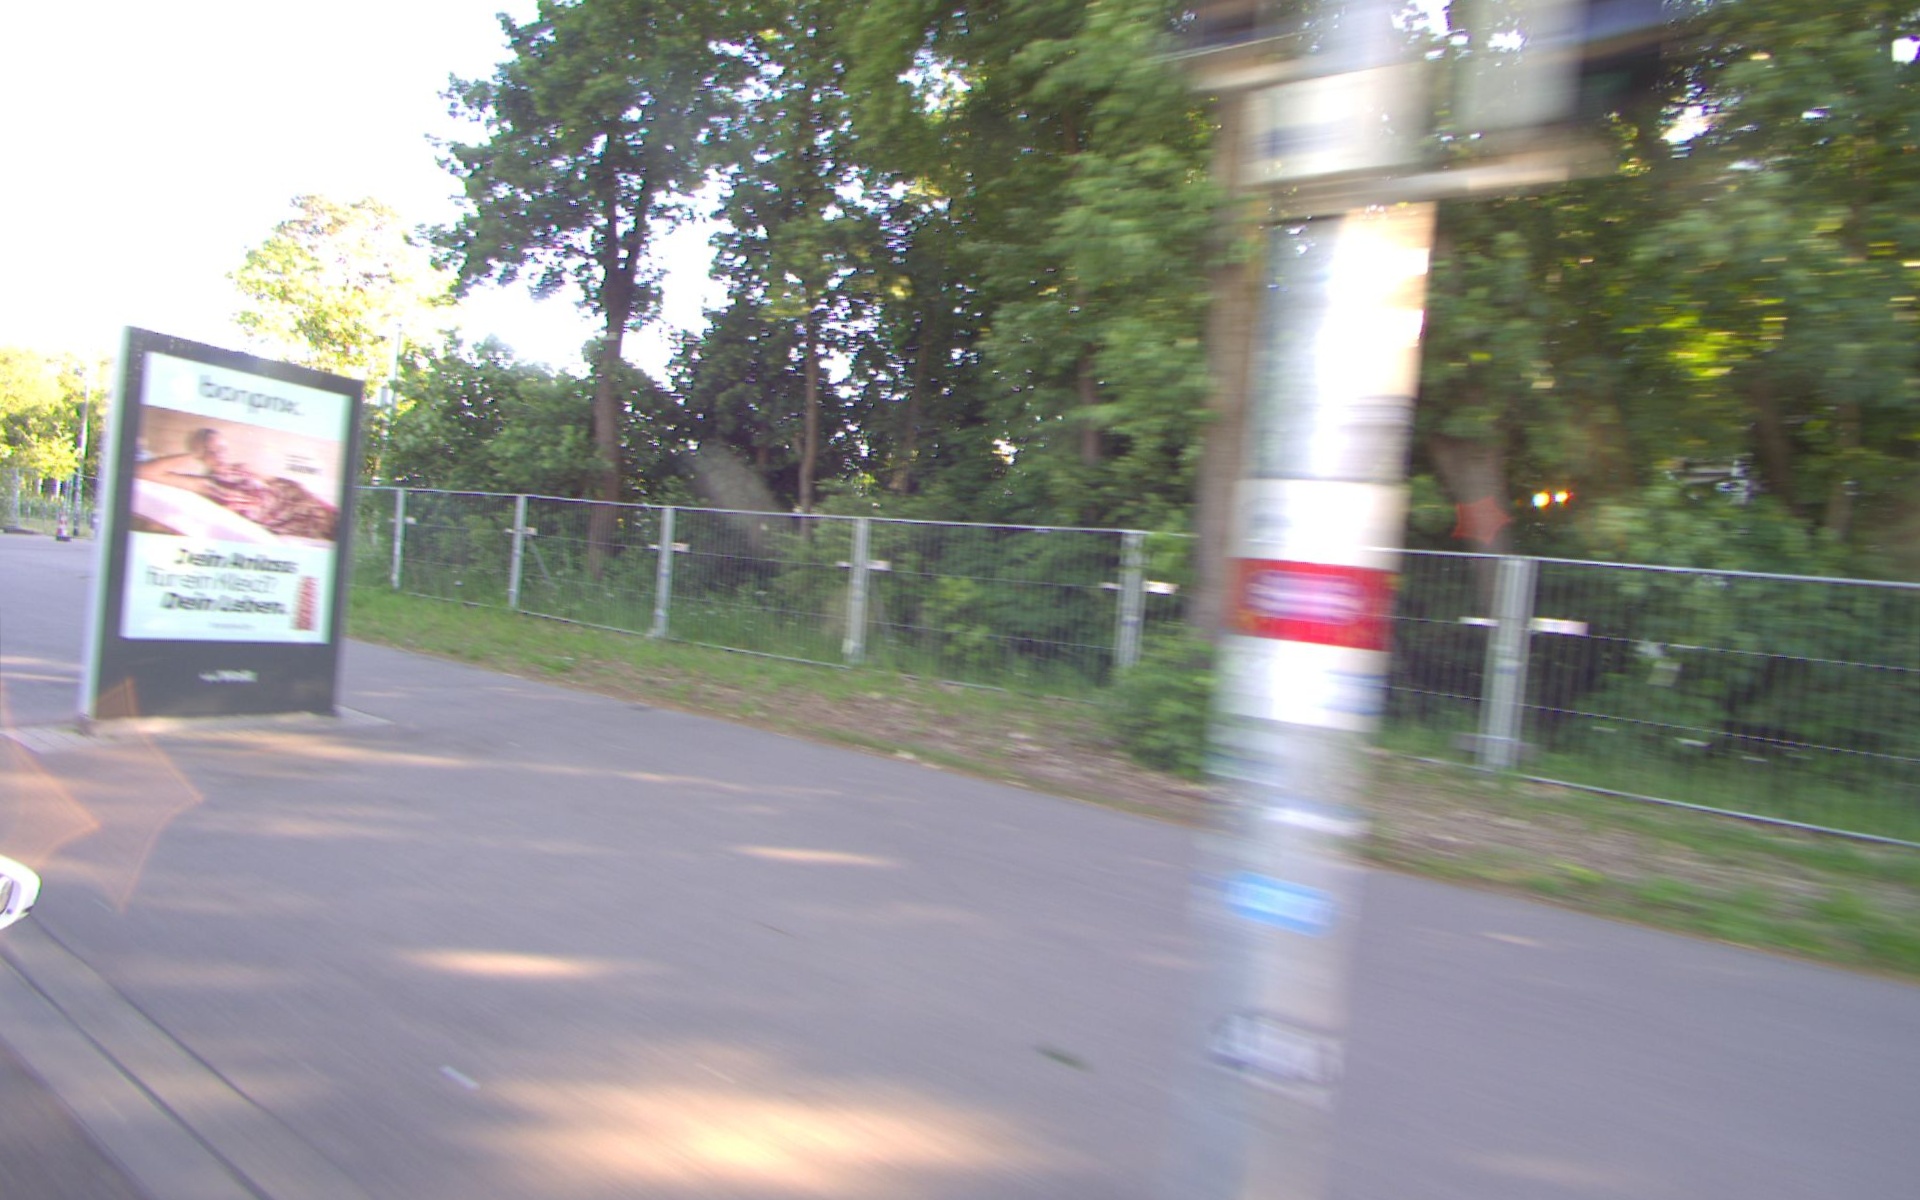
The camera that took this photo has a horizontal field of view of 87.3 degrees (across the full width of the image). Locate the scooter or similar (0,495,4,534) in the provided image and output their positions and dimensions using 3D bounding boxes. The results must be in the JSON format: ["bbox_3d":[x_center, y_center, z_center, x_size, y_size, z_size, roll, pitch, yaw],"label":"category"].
[{"bbox_3d":[-29.497,-2.635,30.070,1.235,1.181,0.391,5,1,-33],"label":"scooter or similar"}]
